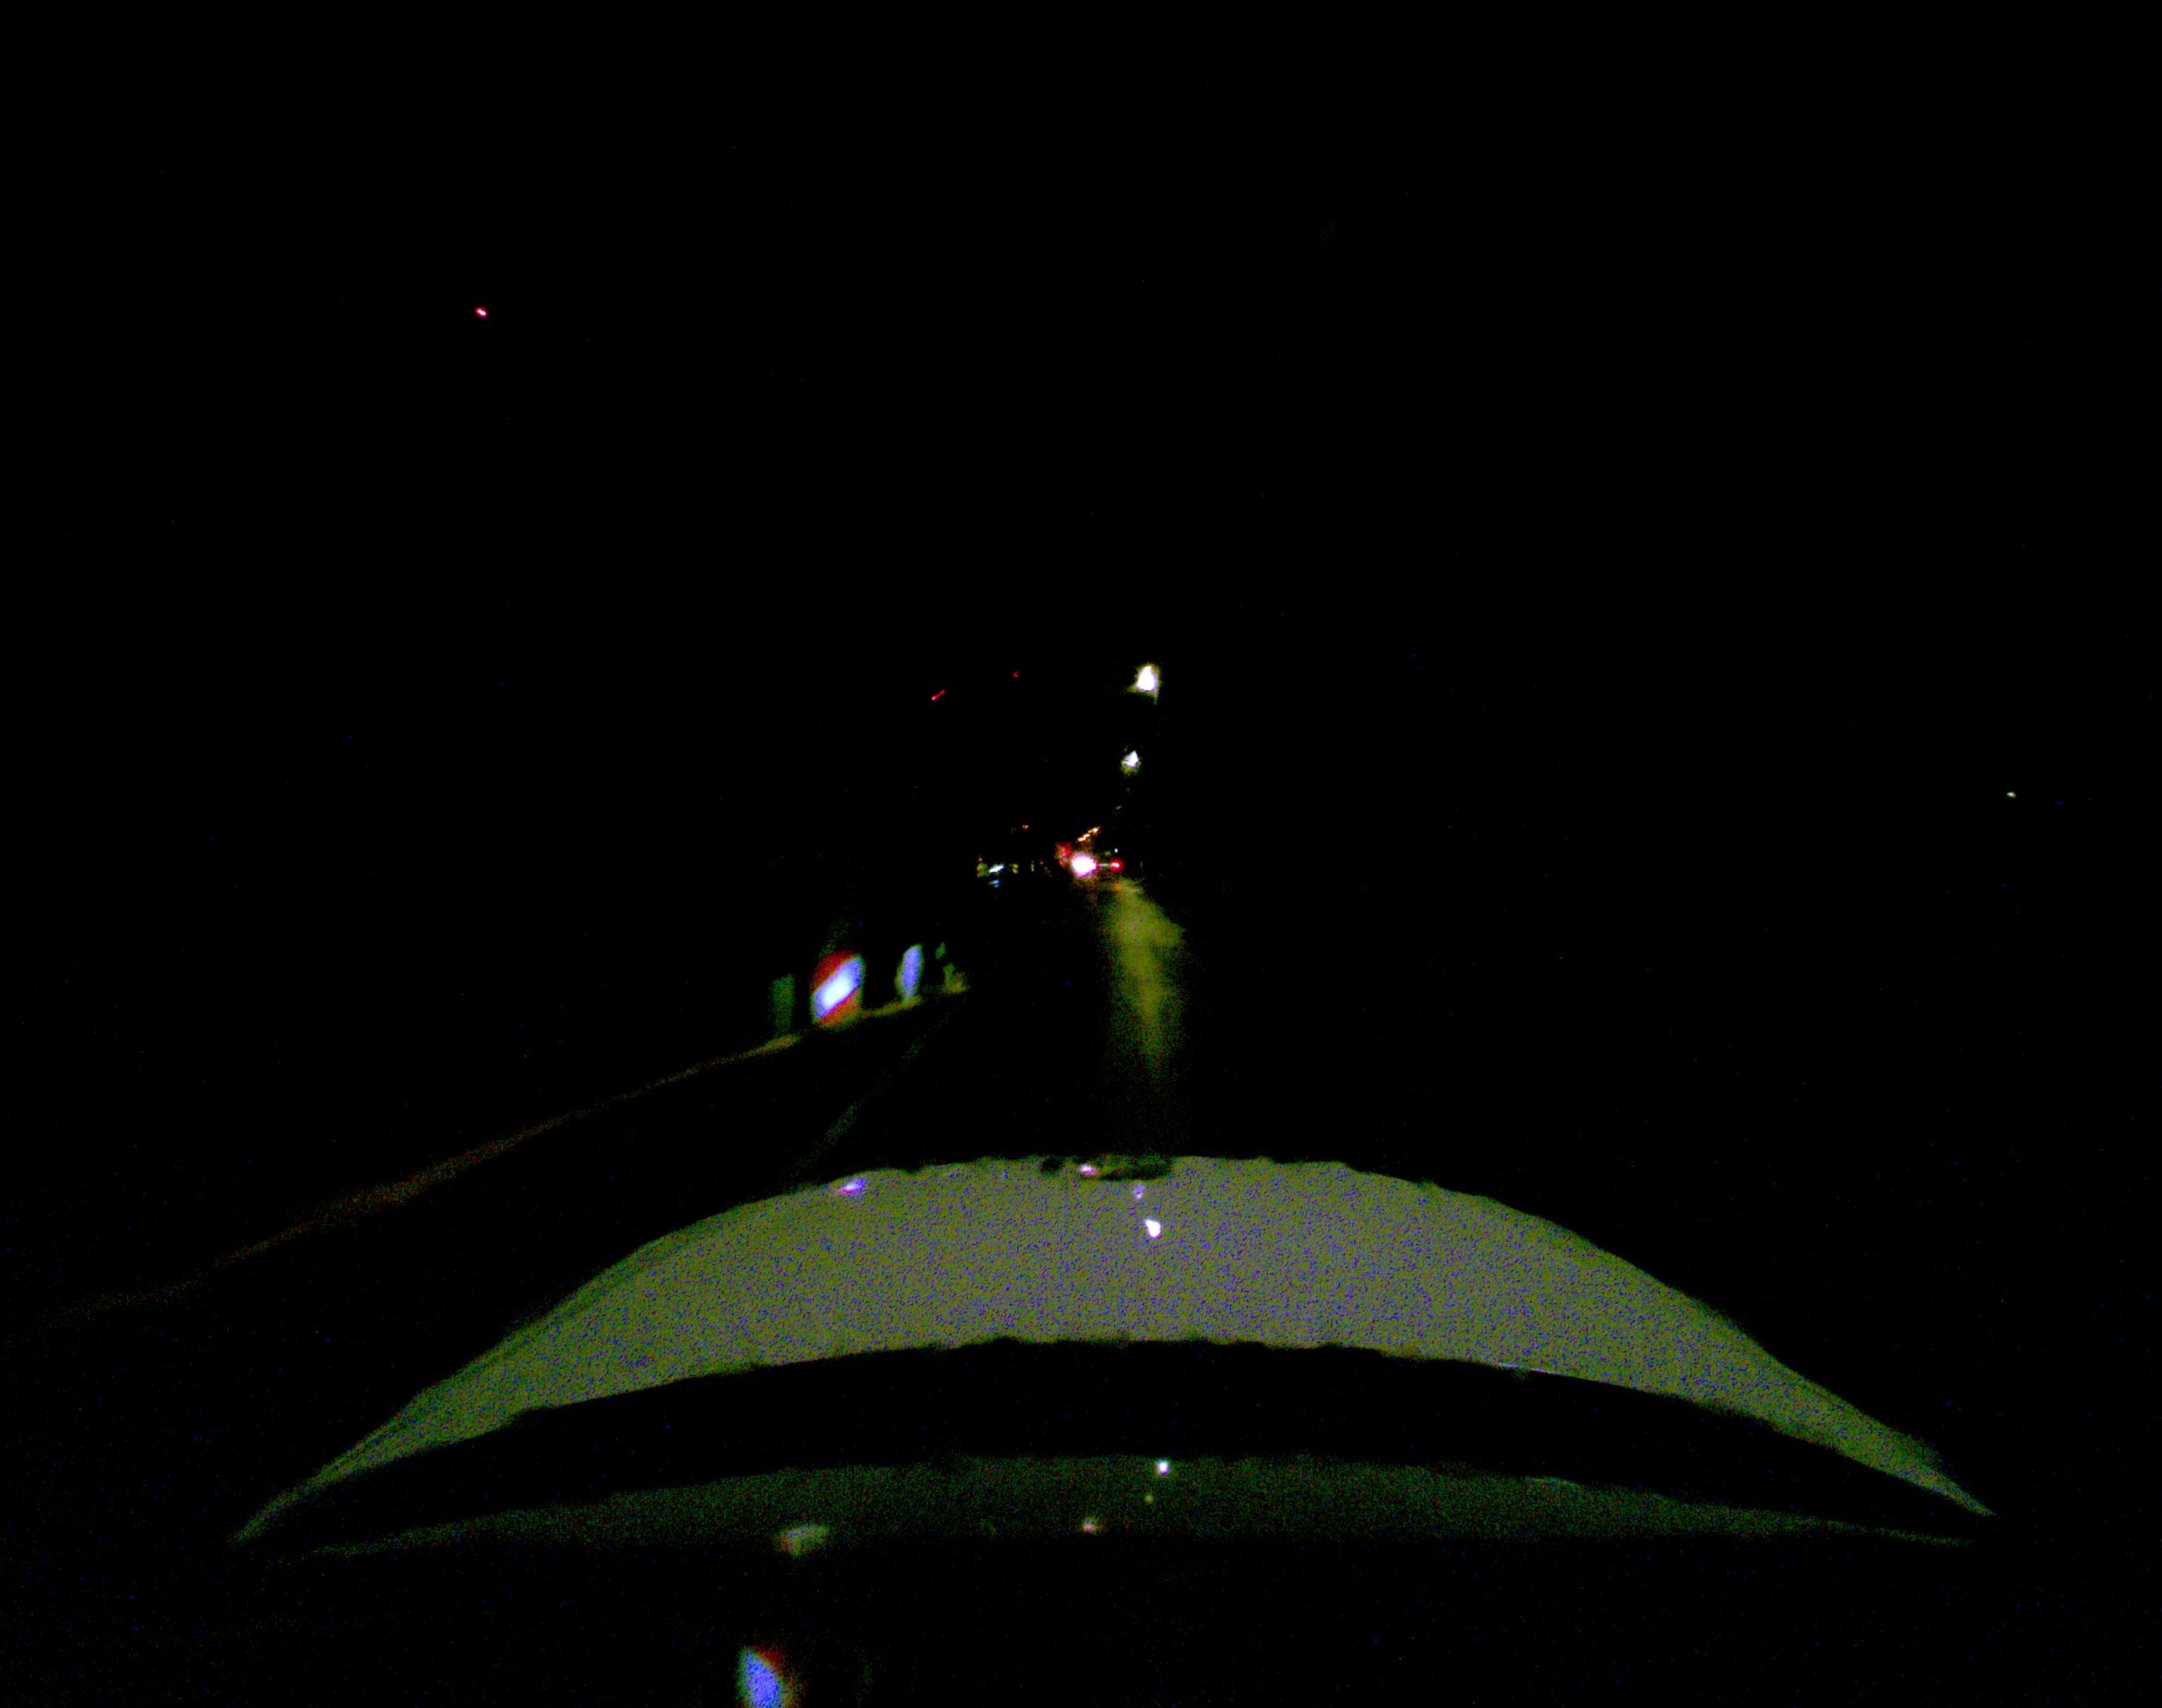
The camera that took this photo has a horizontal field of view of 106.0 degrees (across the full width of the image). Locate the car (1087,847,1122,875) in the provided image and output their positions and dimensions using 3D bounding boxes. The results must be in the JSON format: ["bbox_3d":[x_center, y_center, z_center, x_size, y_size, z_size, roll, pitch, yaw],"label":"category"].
[{"bbox_3d":[1.394,0.428,50.692,1.988,1.684,3.998,-1,0,-1],"label":"car"}]

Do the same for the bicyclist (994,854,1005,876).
[{"bbox_3d":[-6.127,0.819,61.268,0.634,1.595,0.960,-1,1,0],"label":"bicyclist"}]
